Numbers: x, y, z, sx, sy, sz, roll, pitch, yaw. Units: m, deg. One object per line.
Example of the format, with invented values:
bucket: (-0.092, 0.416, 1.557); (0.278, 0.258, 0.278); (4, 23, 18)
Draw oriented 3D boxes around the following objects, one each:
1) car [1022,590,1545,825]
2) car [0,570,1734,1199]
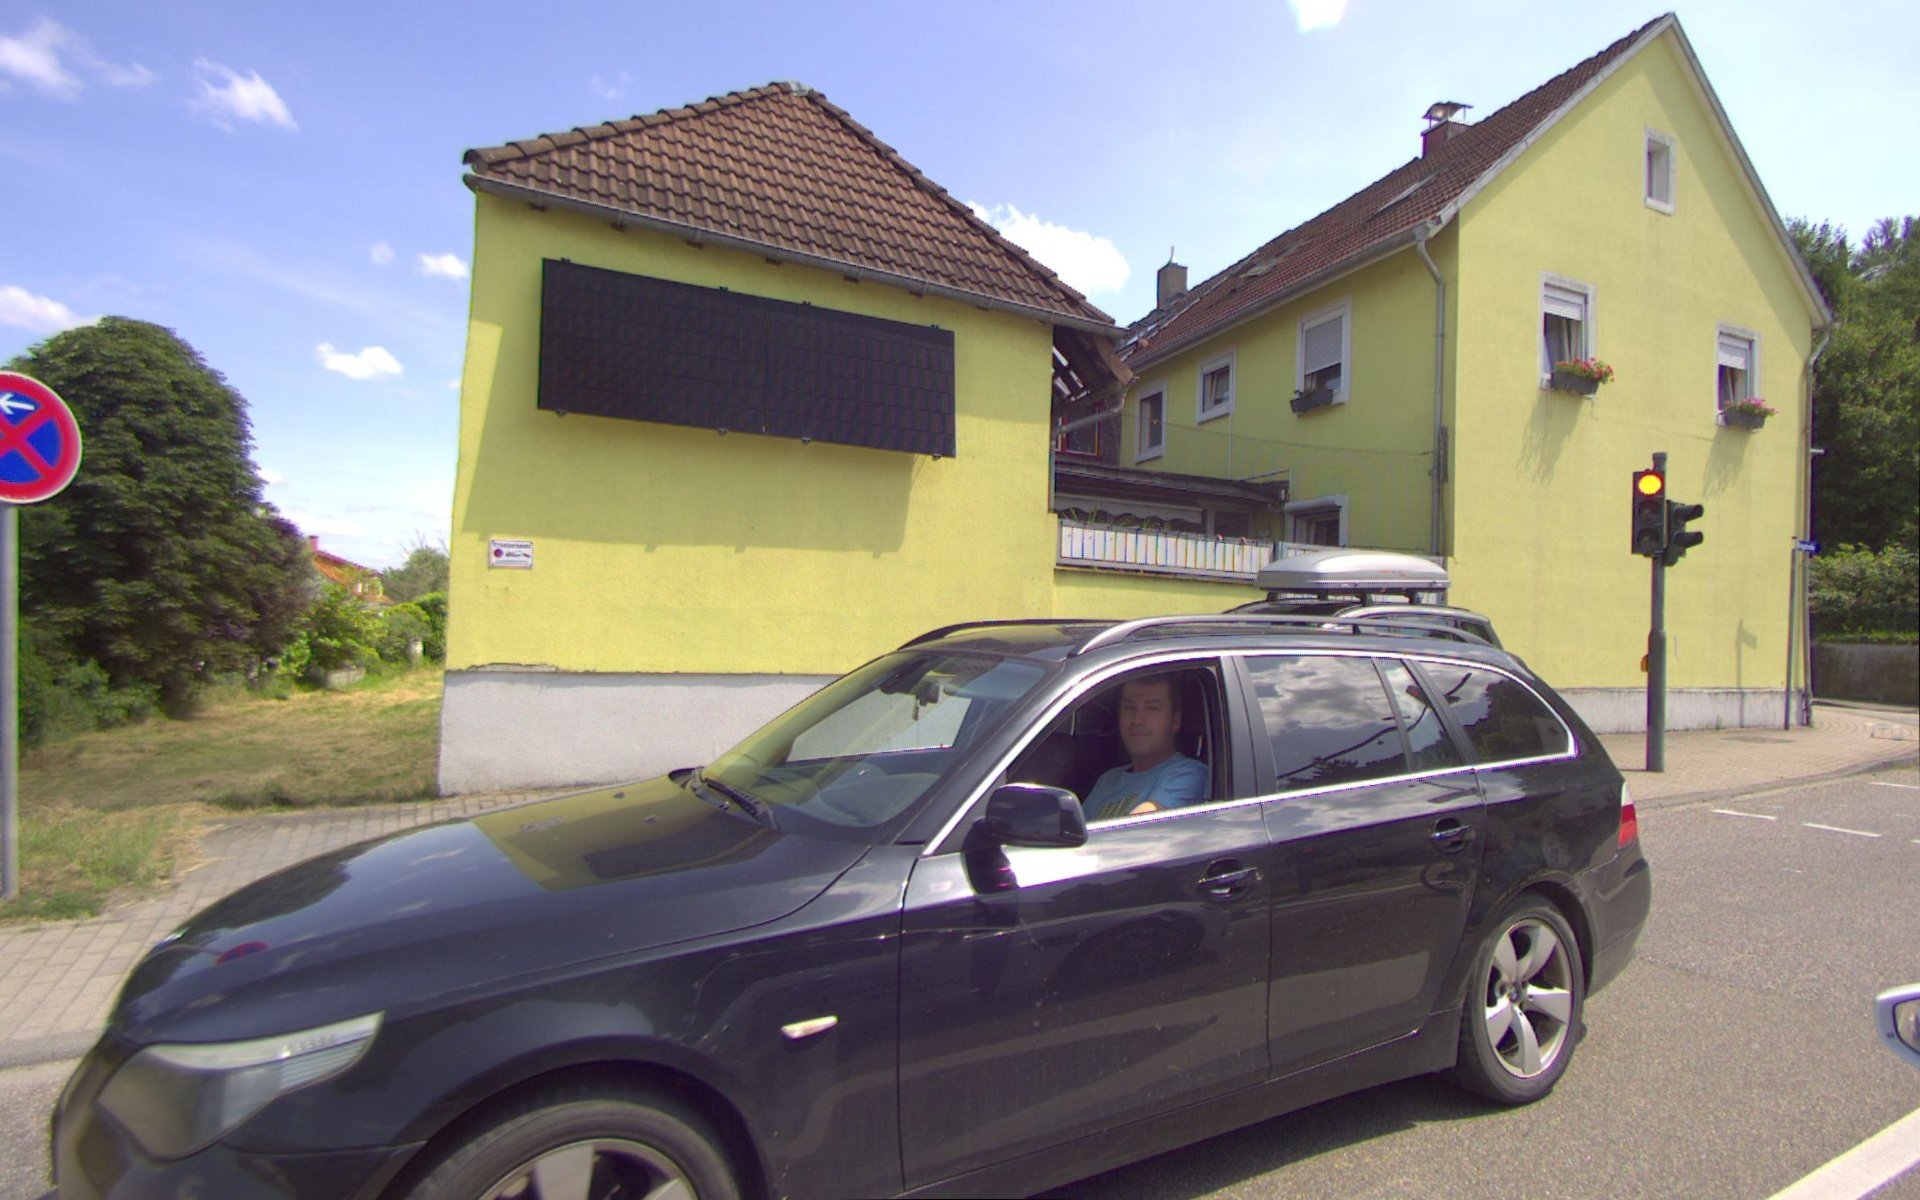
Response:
car: (3.030, 0.817, 9.177); (4.576, 1.657, 1.984); (2, 0, -30)
car: (0.291, 0.777, 3.264); (4.614, 1.461, 1.856); (2, -2, -29)
